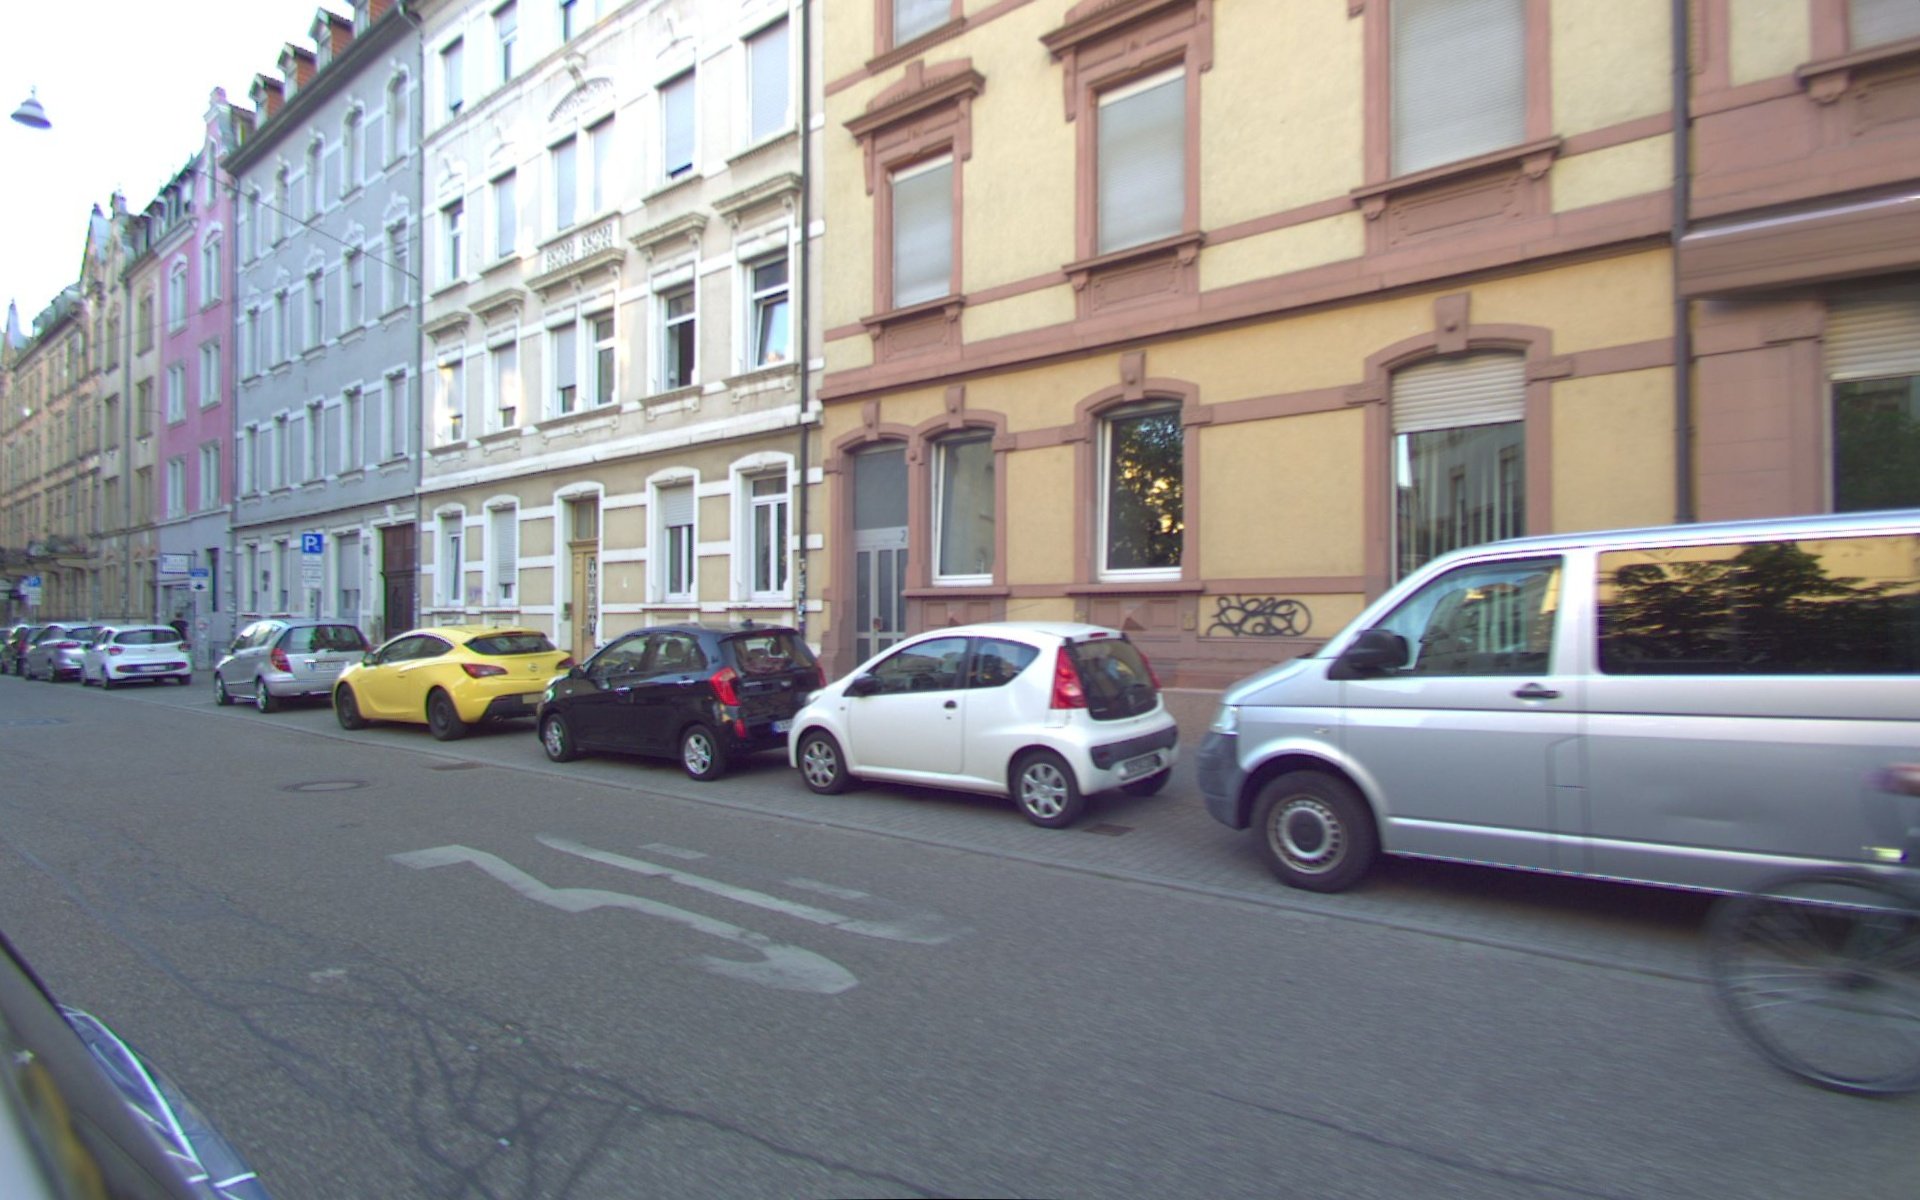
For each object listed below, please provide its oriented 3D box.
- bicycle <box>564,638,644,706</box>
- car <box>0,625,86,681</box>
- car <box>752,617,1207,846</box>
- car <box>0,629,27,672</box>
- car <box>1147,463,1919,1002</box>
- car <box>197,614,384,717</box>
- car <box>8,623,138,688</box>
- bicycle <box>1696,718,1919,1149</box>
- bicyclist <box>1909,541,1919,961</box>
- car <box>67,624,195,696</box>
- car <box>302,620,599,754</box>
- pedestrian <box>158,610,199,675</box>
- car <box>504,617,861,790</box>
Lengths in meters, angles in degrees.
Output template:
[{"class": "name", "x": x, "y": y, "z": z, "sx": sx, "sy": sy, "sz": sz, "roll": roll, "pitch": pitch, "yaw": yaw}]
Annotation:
[{"class": "bicycle", "x": -6.271, "y": 1.239, "z": 17.781, "sx": 1.862, "sy": 1.149, "sz": 0.474, "roll": -2, "pitch": -2, "yaw": 41}, {"class": "car", "x": -29.500, "y": 1.642, "z": 32.293, "sx": 4.053, "sy": 1.604, "sz": 1.736, "roll": -2, "pitch": 0, "yaw": 39}, {"class": "car", "x": 0.057, "y": 0.933, "z": 8.642, "sx": 3.609, "sy": 1.502, "sz": 1.667, "roll": -1, "pitch": 0, "yaw": 39}, {"class": "car", "x": -36.796, "y": 1.947, "z": 38.230, "sx": 4.054, "sy": 1.485, "sz": 1.736, "roll": -2, "pitch": 3, "yaw": 41}, {"class": "car", "x": 3.691, "y": 0.510, "z": 5.208, "sx": 5.001, "sy": 2.072, "sz": 2.020, "roll": -1, "pitch": 0, "yaw": 40}, {"class": "car", "x": -12.264, "y": 1.121, "z": 18.438, "sx": 4.143, "sy": 1.604, "sz": 1.781, "roll": -2, "pitch": 0, "yaw": 41}, {"class": "car", "x": -24.794, "y": 1.512, "z": 28.236, "sx": 4.665, "sy": 1.604, "sz": 1.816, "roll": -2, "pitch": 0, "yaw": 37}, {"class": "bicycle", "x": 3.302, "y": 0.968, "z": 2.808, "sx": 2.010, "sy": 1.115, "sz": 0.714, "roll": -1, "pitch": -2, "yaw": 36}, {"class": "bicyclist", "x": 3.310, "y": 0.573, "z": 2.812, "sx": 0.865, "sy": 1.537, "sz": 0.707, "roll": -1, "pitch": -2, "yaw": 36}, {"class": "car", "x": -20.650, "y": 1.432, "z": 25.163, "sx": 3.924, "sy": 1.588, "sz": 1.735, "roll": -2, "pitch": 0, "yaw": 40}, {"class": "car", "x": -7.314, "y": 1.106, "z": 14.309, "sx": 4.794, "sy": 1.537, "sz": 1.822, "roll": -2, "pitch": 0, "yaw": 37}, {"class": "pedestrian", "x": -23.910, "y": 1.295, "z": 30.967, "sx": 0.833, "sy": 1.964, "sz": 0.840, "roll": -2, "pitch": -2, "yaw": 43}, {"class": "car", "x": -3.046, "y": 0.974, "z": 10.851, "sx": 3.734, "sy": 1.502, "sz": 1.714, "roll": -1, "pitch": 0, "yaw": 36}]
